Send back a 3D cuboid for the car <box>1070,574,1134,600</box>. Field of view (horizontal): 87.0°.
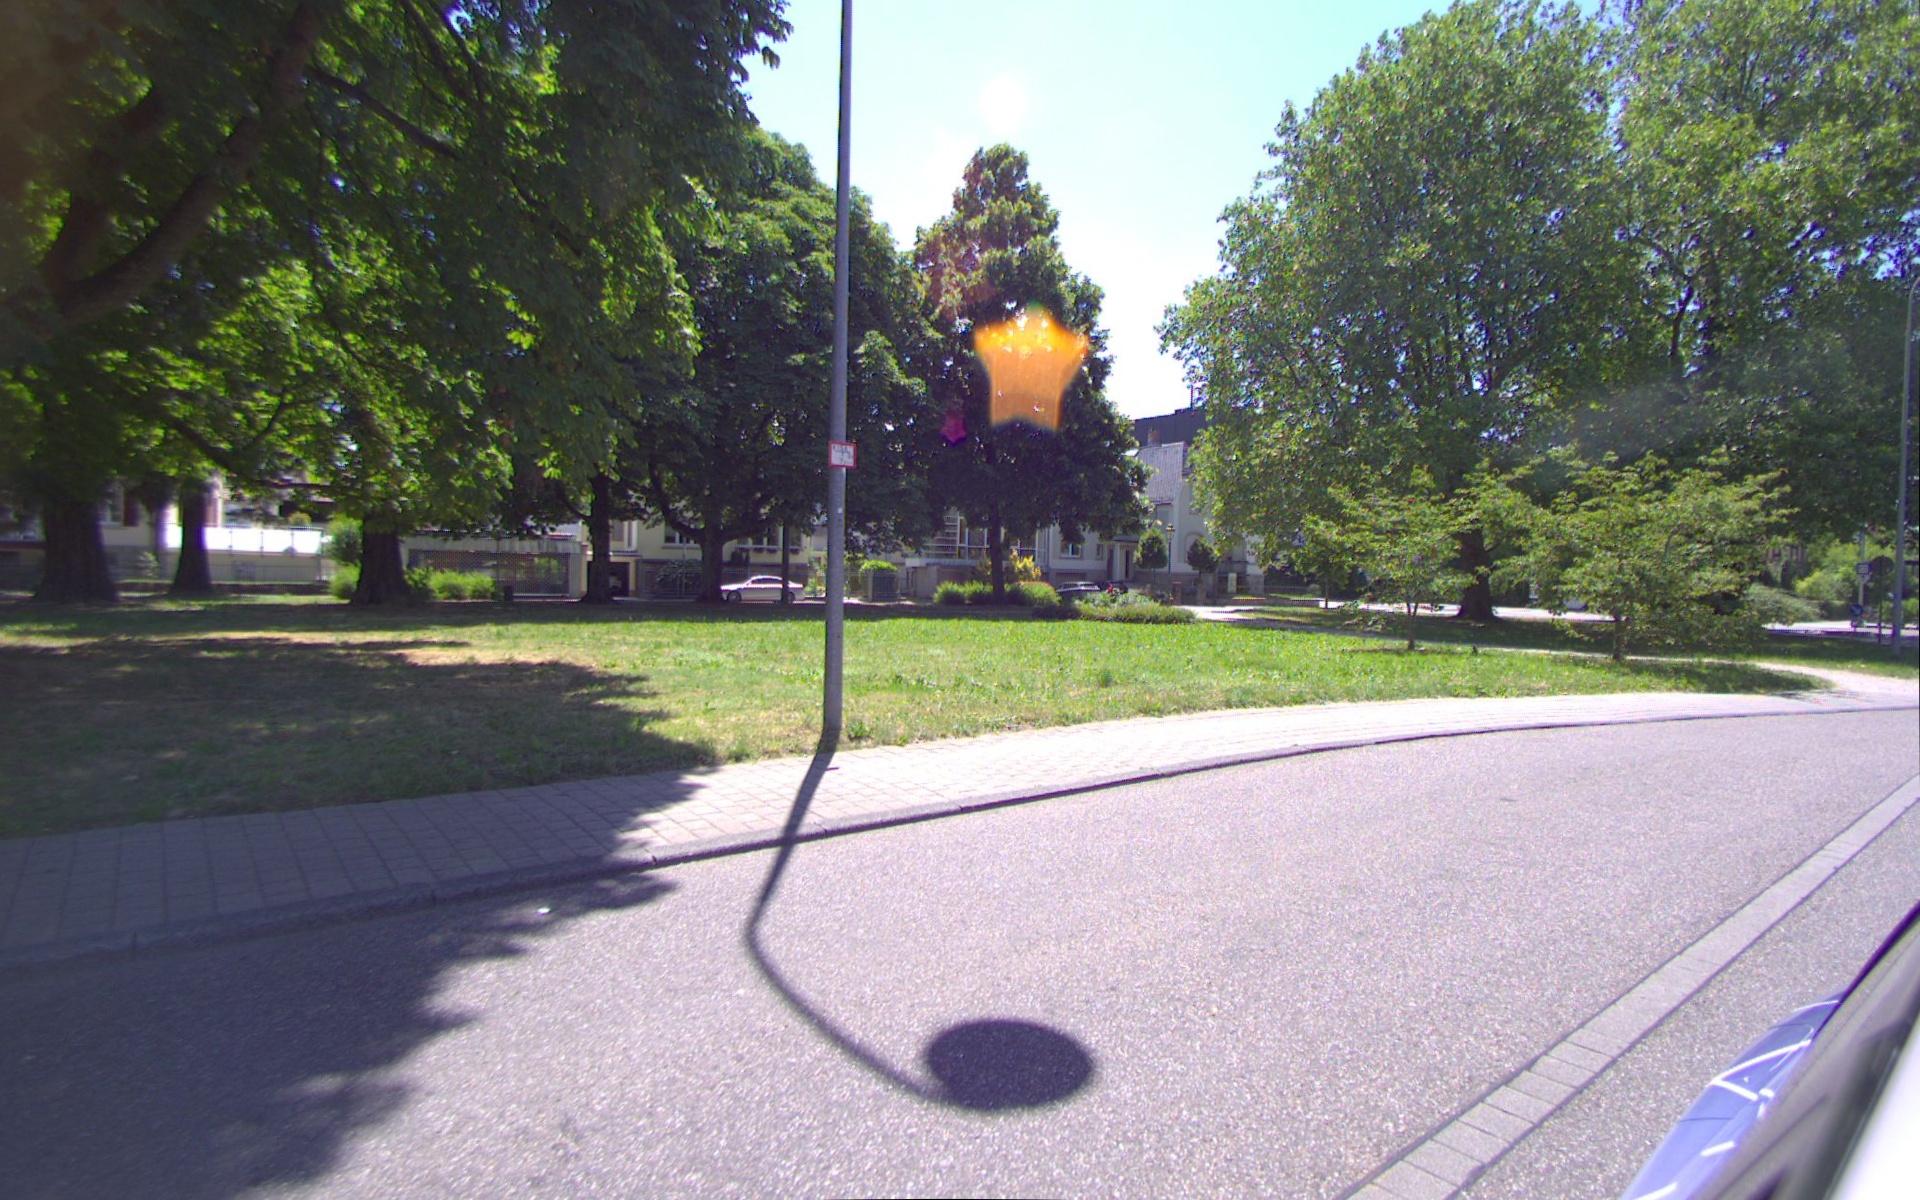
[{"bbox_3d":[9.371,-0.856,66.940,1.962,1.587,4.001,0,2,-35],"label":"car"}]

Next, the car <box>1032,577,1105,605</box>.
[{"bbox_3d":[6.399,-0.547,59.598,3.918,1.543,1.757,1,2,-27],"label":"car"}]

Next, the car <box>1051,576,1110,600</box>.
[{"bbox_3d":[7.678,-0.801,65.055,1.958,1.408,4.008,1,2,-24],"label":"car"}]

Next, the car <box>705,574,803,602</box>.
[{"bbox_3d":[-10.407,-0.630,51.241,4.618,1.303,1.674,-1,3,-25],"label":"car"}]
